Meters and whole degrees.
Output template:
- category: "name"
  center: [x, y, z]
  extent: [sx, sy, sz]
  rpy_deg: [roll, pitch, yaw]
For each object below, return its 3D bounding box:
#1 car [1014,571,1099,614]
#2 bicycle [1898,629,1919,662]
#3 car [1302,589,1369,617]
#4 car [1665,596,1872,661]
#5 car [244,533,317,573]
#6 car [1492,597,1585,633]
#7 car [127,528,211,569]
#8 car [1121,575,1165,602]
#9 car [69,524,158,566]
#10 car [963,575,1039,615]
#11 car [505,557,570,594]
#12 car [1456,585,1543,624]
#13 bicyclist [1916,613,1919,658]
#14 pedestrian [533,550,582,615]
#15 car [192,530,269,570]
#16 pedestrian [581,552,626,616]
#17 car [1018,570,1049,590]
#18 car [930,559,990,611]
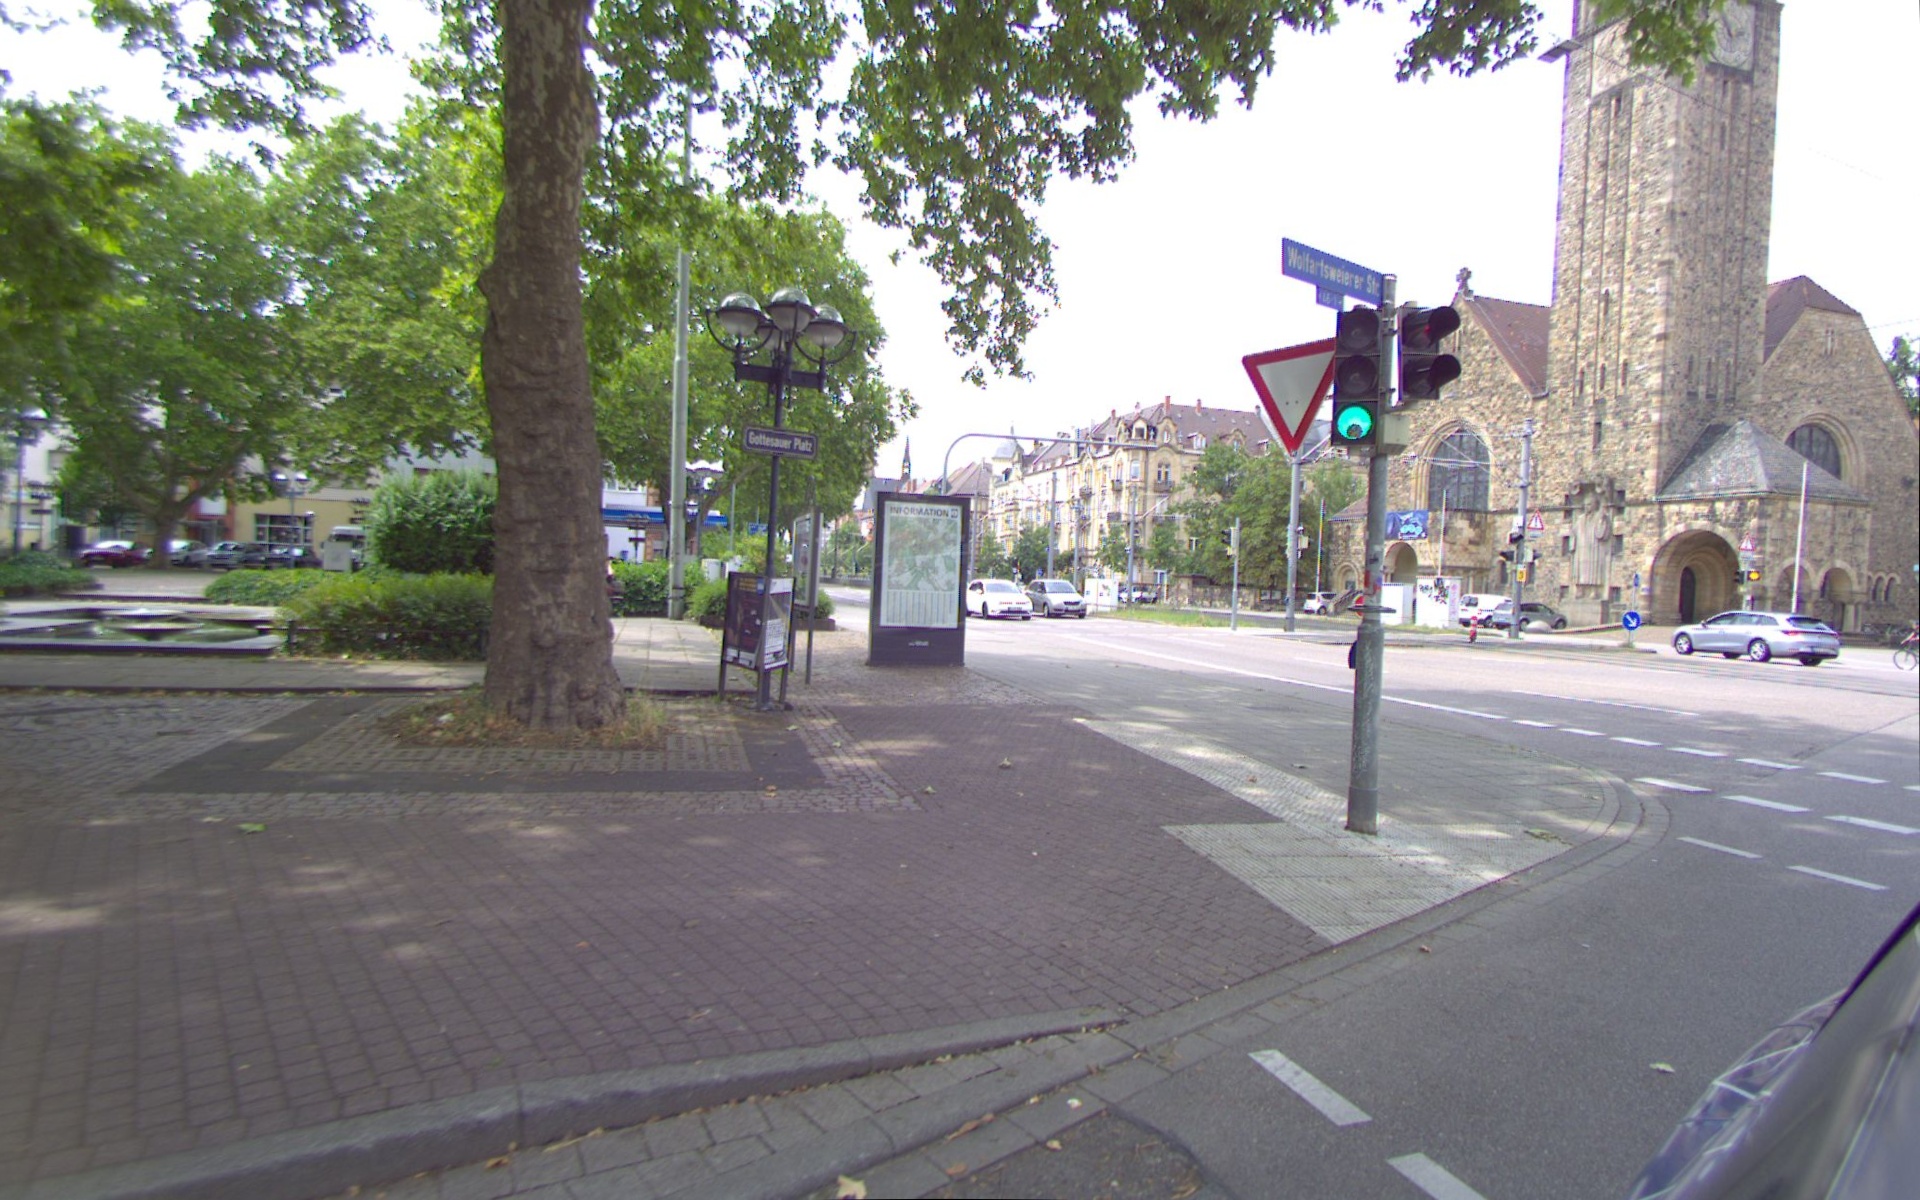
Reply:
- category: "car"
  center: [3.733, -0.344, 40.013]
  extent: [1.800, 1.530, 4.298]
  rpy_deg: [3, 1, -17]
- category: "bicycle"
  center: [32.831, 1.566, 34.046]
  extent: [1.783, 1.099, 0.597]
  rpy_deg: [2, -1, 10]
- category: "car"
  center: [26.095, 0.216, 70.332]
  extent: [3.871, 1.661, 2.005]
  rpy_deg: [3, 1, -16]
- category: "car"
  center: [23.243, 0.743, 29.401]
  extent: [1.733, 1.543, 4.854]
  rpy_deg: [3, 1, -6]
- category: "car"
  center: [-34.256, -2.333, 51.136]
  extent: [1.958, 1.838, 4.009]
  rpy_deg: [3, 1, -18]
- category: "car"
  center: [30.453, 0.788, 53.333]
  extent: [3.915, 1.671, 2.005]
  rpy_deg: [3, 1, -16]
- category: "car"
  center: [-39.128, -2.530, 50.180]
  extent: [1.958, 1.838, 4.009]
  rpy_deg: [3, 1, -18]
- category: "car"
  center: [15.286, -1.008, 84.861]
  extent: [1.958, 2.038, 4.009]
  rpy_deg: [3, 1, -16]
- category: "car"
  center: [-41.280, -2.634, 49.466]
  extent: [1.958, 1.838, 4.009]
  rpy_deg: [3, 1, -18]
- category: "car"
  center: [1.470, -0.225, 38.026]
  extent: [1.801, 1.400, 4.297]
  rpy_deg: [1, 1, -12]
- category: "car"
  center: [-22.565, -1.296, 54.232]
  extent: [1.961, 1.838, 4.003]
  rpy_deg: [3, 1, -4]
- category: "car"
  center: [29.950, 0.252, 56.247]
  extent: [3.871, 1.905, 2.005]
  rpy_deg: [3, 1, -16]
- category: "bicyclist"
  center: [32.869, 1.216, 34.045]
  extent: [0.826, 1.516, 0.587]
  rpy_deg: [2, -1, 10]
- category: "pedestrian"
  center: [-8.749, -0.376, 22.038]
  extent: [0.849, 1.334, 1.181]
  rpy_deg: [3, 0, -18]
- category: "car"
  center: [-36.667, -2.475, 50.993]
  extent: [1.958, 1.838, 4.009]
  rpy_deg: [3, 1, -18]
- category: "pedestrian"
  center: [-7.892, -0.356, 22.428]
  extent: [0.849, 1.334, 1.181]
  rpy_deg: [3, 0, -18]
- category: "car"
  center: [8.178, -2.260, 113.209]
  extent: [1.958, 2.039, 4.009]
  rpy_deg: [3, 1, -18]
- category: "car"
  center: [-0.048, -0.672, 43.278]
  extent: [1.959, 2.038, 4.007]
  rpy_deg: [2, 1, -8]
